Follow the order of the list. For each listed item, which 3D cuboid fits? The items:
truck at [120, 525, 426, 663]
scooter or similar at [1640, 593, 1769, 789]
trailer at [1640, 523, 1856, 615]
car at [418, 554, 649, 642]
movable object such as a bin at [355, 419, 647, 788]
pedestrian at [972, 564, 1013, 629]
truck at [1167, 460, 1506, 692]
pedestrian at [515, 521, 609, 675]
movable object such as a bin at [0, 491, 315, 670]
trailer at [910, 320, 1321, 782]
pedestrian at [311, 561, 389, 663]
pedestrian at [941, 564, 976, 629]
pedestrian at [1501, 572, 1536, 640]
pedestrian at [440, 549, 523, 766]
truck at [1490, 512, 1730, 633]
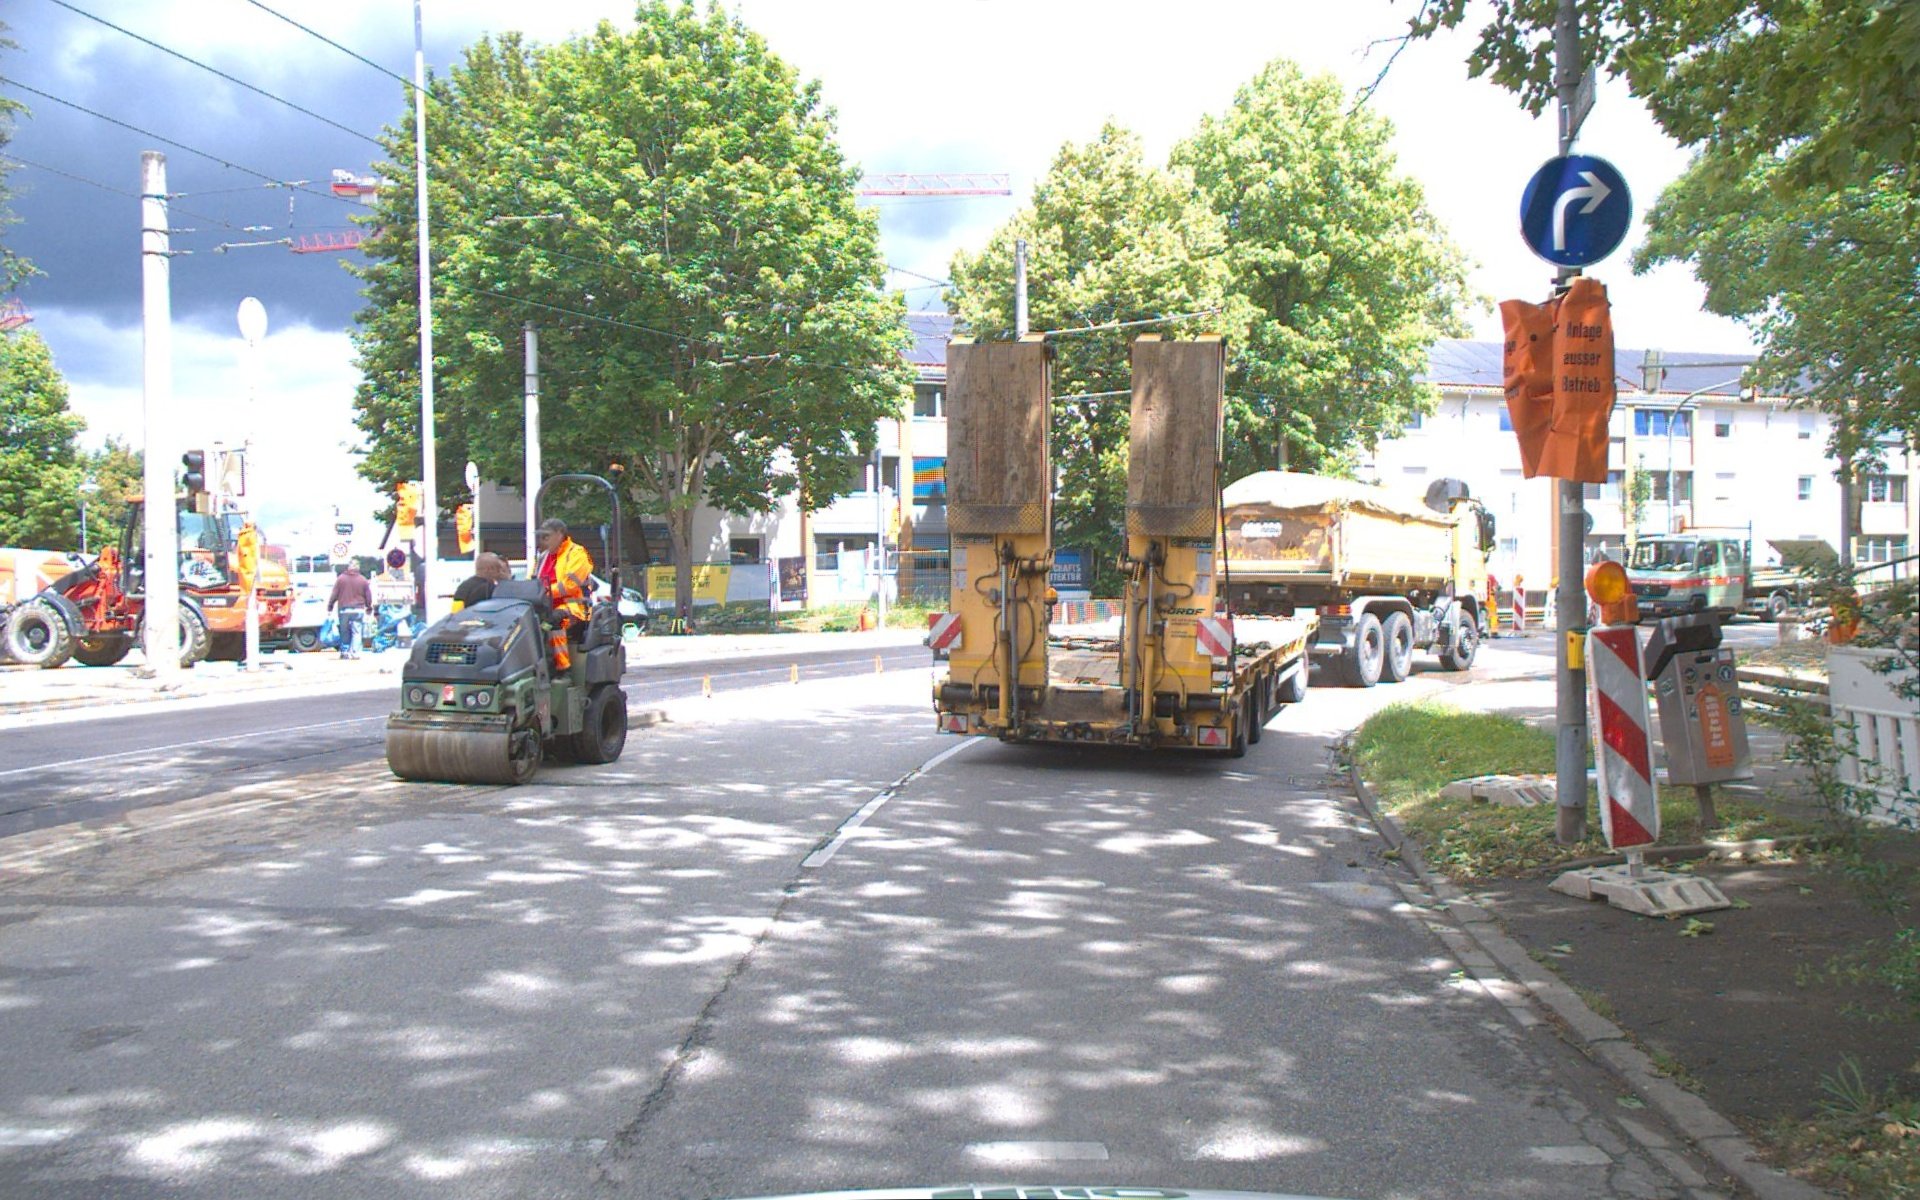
[{"bbox_3d":[-14.671,-0.127,35.534,5.448,2.613,2.421,-3,0,3],"label":"truck"},{"bbox_3d":[5.068,0.590,11.317,0.552,1.254,1.196,-1,1,13],"label":"scooter or similar"},{"bbox_3d":[22.279,-0.910,46.678,6.170,2.252,2.641,-4,3,-33],"label":"trailer"},{"bbox_3d":[-10.059,-0.044,39.158,5.149,1.920,1.991,-1,-1,-16],"label":"car"},{"bbox_3d":[-3.547,0.001,13.118,1.288,2.639,2.365,0,1,12],"label":"movable object such as a bin"},{"bbox_3d":[0.799,-0.093,40.851,0.888,1.559,0.840,-1,0,-7],"label":"pedestrian"},{"bbox_3d":[6.374,-0.442,26.962,2.866,3.222,7.657,1,2,34],"label":"truck"},{"bbox_3d":[-3.283,-0.021,13.680,0.537,1.238,0.618,-1,1,9],"label":"pedestrian"},{"bbox_3d":[-13.428,-0.305,26.385,5.452,2.715,2.117,0,0,4],"label":"movable object such as a bin"},{"bbox_3d":[2.361,-0.505,18.538,2.763,3.585,11.061,2,1,15],"label":"trailer"},{"bbox_3d":[-10.310,0.199,27.998,0.906,1.688,0.875,-1,1,7],"label":"pedestrian"},{"bbox_3d":[-0.041,-0.087,40.664,0.745,1.568,0.797,-1,0,-7],"label":"pedestrian"},{"bbox_3d":[13.319,0.129,39.425,0.747,1.578,0.901,0,2,21],"label":"pedestrian"},{"bbox_3d":[-3.870,0.450,13.388,0.459,1.711,0.559,1,0,2],"label":"pedestrian"},{"bbox_3d":[17.072,-0.786,43.298,6.316,2.772,2.641,-4,3,-33],"label":"truck"}]
